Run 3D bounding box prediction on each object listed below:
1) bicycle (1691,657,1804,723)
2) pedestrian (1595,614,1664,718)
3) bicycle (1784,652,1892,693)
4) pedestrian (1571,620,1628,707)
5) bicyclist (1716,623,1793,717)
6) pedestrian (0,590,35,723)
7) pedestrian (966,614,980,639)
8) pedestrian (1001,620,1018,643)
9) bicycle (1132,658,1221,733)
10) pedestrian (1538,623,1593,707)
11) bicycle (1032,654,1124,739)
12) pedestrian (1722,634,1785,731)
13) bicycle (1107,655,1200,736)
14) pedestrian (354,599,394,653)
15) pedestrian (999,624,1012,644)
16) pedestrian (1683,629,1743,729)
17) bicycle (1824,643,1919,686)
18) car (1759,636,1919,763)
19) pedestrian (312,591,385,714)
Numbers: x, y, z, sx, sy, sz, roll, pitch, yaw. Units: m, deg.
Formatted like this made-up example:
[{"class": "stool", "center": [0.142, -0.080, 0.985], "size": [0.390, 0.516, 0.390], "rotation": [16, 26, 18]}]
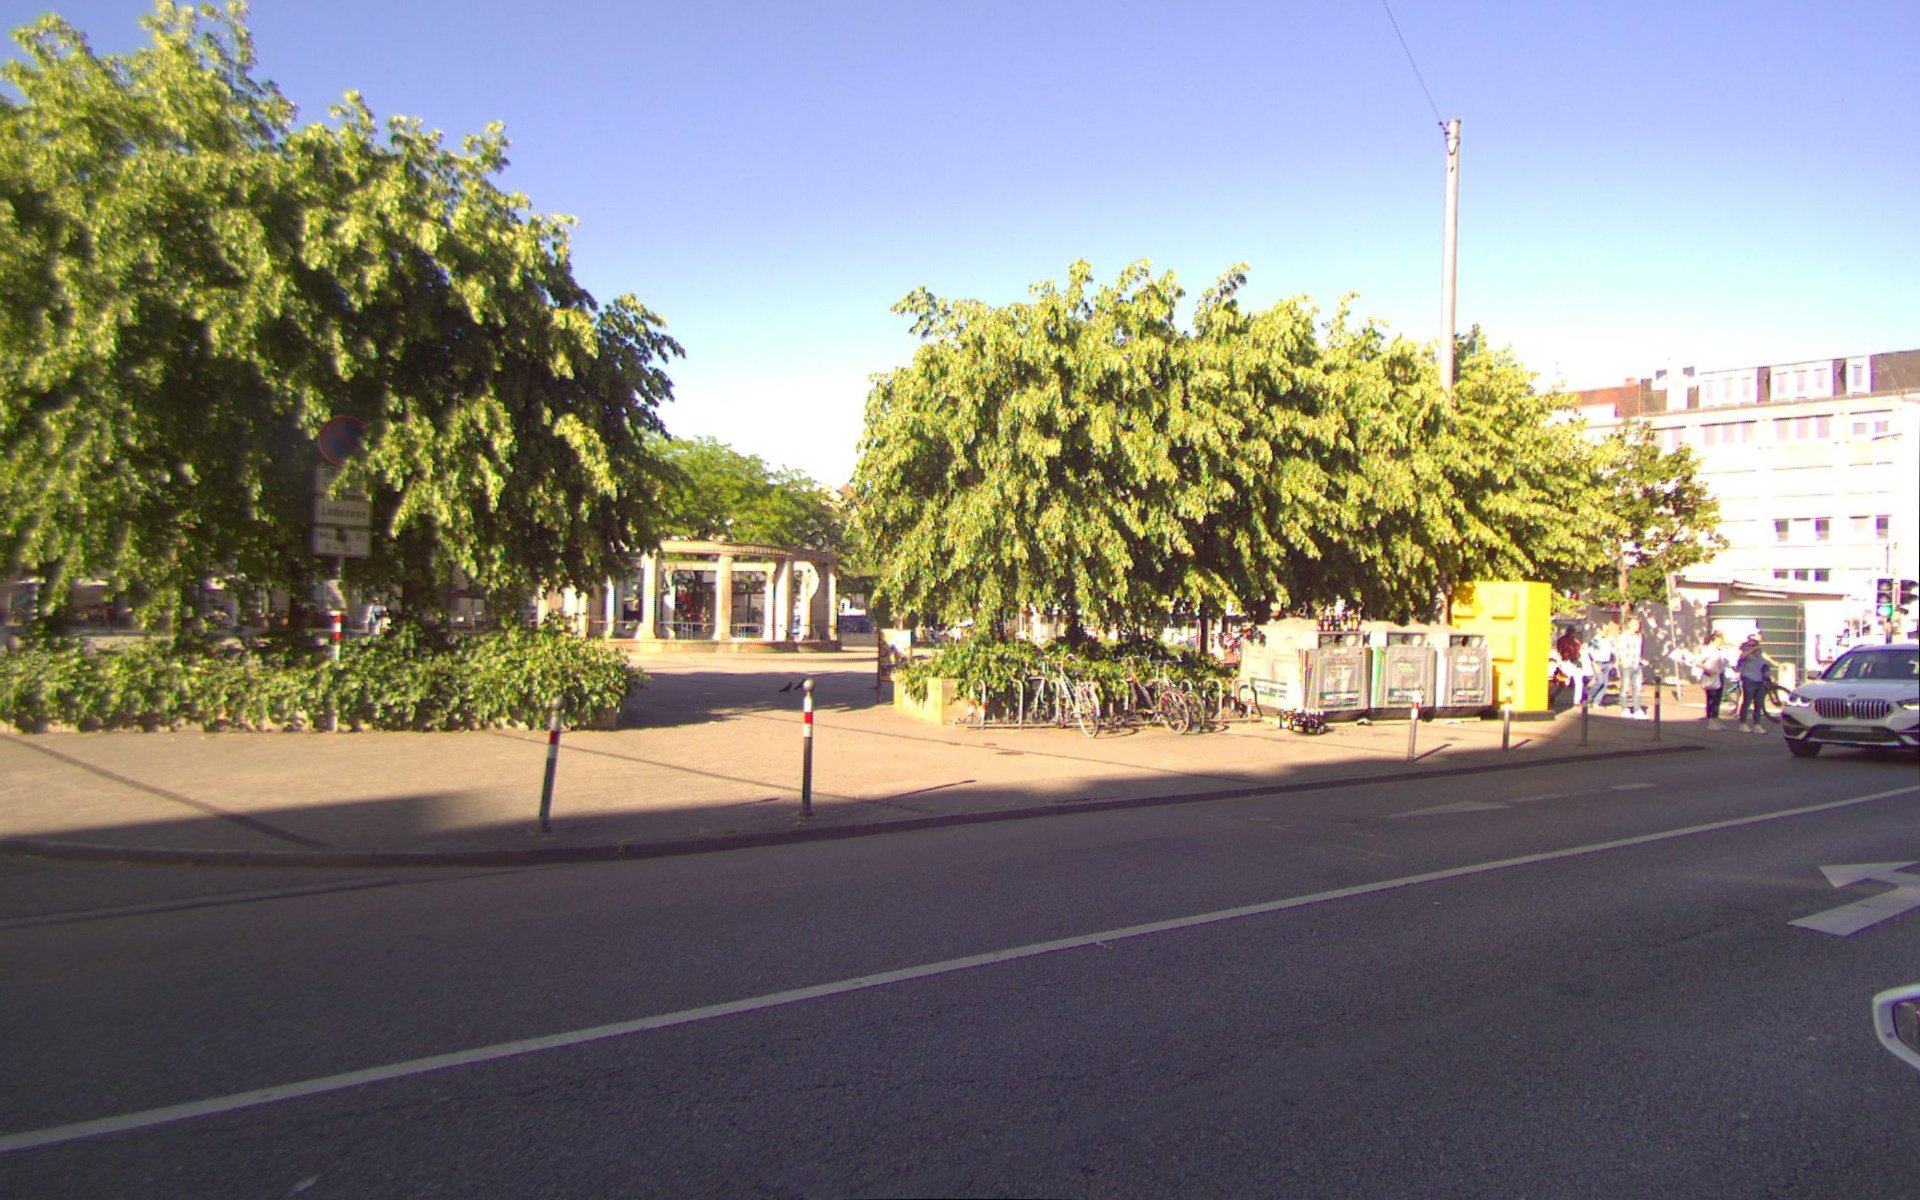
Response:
[{"class": "bicycle", "center": [16.183, 1.815, 20.717], "size": [0.528, 1.154, 2.065], "rotation": [2, 0, -6]}, {"class": "pedestrian", "center": [13.123, 1.275, 19.715], "size": [0.699, 1.981, 0.828], "rotation": [2, 0, -18]}, {"class": "bicycle", "center": [28.279, 2.308, 32.390], "size": [0.833, 1.171, 2.493], "rotation": [2, -1, -31]}, {"class": "pedestrian", "center": [13.923, 1.366, 21.888], "size": [0.727, 1.851, 0.847], "rotation": [1, -1, 4]}, {"class": "bicyclist", "center": [16.271, 1.415, 20.593], "size": [0.773, 1.862, 0.952], "rotation": [2, 0, -6]}, {"class": "pedestrian", "center": [-13.343, 0.752, 13.700], "size": [0.725, 1.781, 0.895], "rotation": [2, -1, -19]}, {"class": "pedestrian", "center": [1.109, 2.275, 86.282], "size": [0.886, 2.041, 1.286], "rotation": [0, 2, 12]}, {"class": "pedestrian", "center": [4.527, 2.873, 91.426], "size": [1.250, 2.040, 1.286], "rotation": [1, -1, 12]}, {"class": "bicycle", "center": [3.188, 1.392, 14.918], "size": [0.425, 0.971, 1.517], "rotation": [0, 0, -28]}, {"class": "pedestrian", "center": [13.224, 1.405, 21.963], "size": [0.640, 1.792, 0.897], "rotation": [1, -1, 1]}, {"class": "bicycle", "center": [1.623, 1.318, 14.030], "size": [0.425, 1.031, 1.590], "rotation": [2, 0, -28]}, {"class": "pedestrian", "center": [14.238, 1.466, 18.033], "size": [0.608, 1.684, 0.685], "rotation": [1, -1, 6]}, {"class": "bicycle", "center": [2.790, 1.361, 14.615], "size": [0.425, 1.036, 1.561], "rotation": [2, -1, -28]}, {"class": "pedestrian", "center": [-19.632, 0.857, 33.653], "size": [0.723, 1.781, 0.898], "rotation": [1, -1, 29]}, {"class": "pedestrian", "center": [4.676, 3.509, 102.971], "size": [1.252, 2.040, 1.284], "rotation": [0, 0, -4]}, {"class": "pedestrian", "center": [13.594, 1.409, 18.136], "size": [0.661, 1.751, 0.549], "rotation": [1, -1, 3]}, {"class": "bicycle", "center": [31.852, 2.230, 35.050], "size": [0.913, 1.341, 2.461], "rotation": [2, -1, -35]}, {"class": "car", "center": [13.383, 1.346, 14.240], "size": [4.261, 1.575, 1.798], "rotation": [2, -5, -31]}, {"class": "pedestrian", "center": [-9.155, 0.771, 15.072], "size": [0.725, 1.781, 0.895], "rotation": [2, -1, -19]}]
